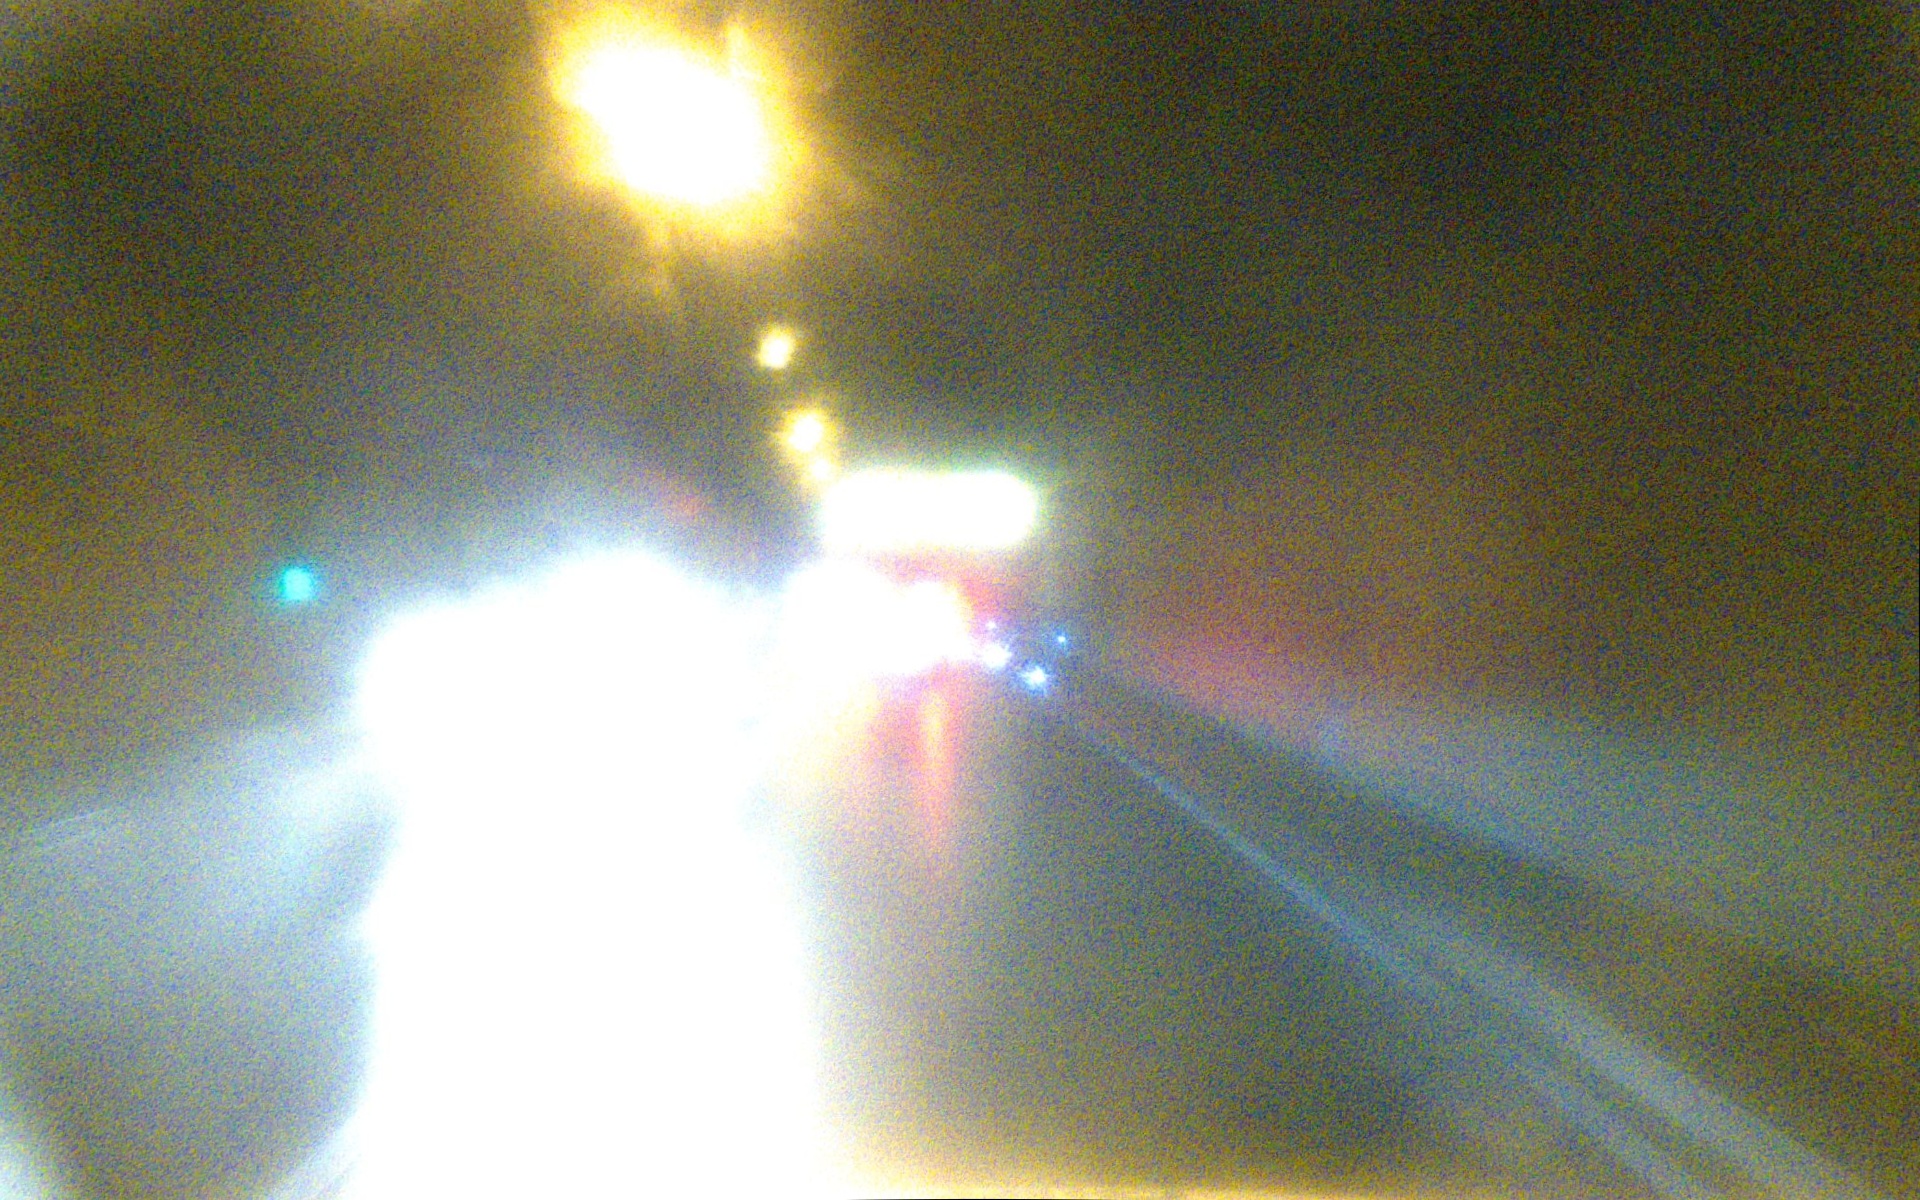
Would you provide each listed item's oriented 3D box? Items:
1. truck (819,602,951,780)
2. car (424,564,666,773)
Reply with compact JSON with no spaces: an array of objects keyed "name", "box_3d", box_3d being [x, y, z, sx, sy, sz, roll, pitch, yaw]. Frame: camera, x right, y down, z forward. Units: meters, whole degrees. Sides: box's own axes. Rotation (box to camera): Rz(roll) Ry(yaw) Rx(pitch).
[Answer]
[{"name":"truck","box_3d":[-1.540,1.627,33.202,2.217,3.063,7.410,3,0,-3]},{"name":"car","box_3d":[-3.536,0.534,14.574,1.552,1.564,3.172,3,0,-6]}]
